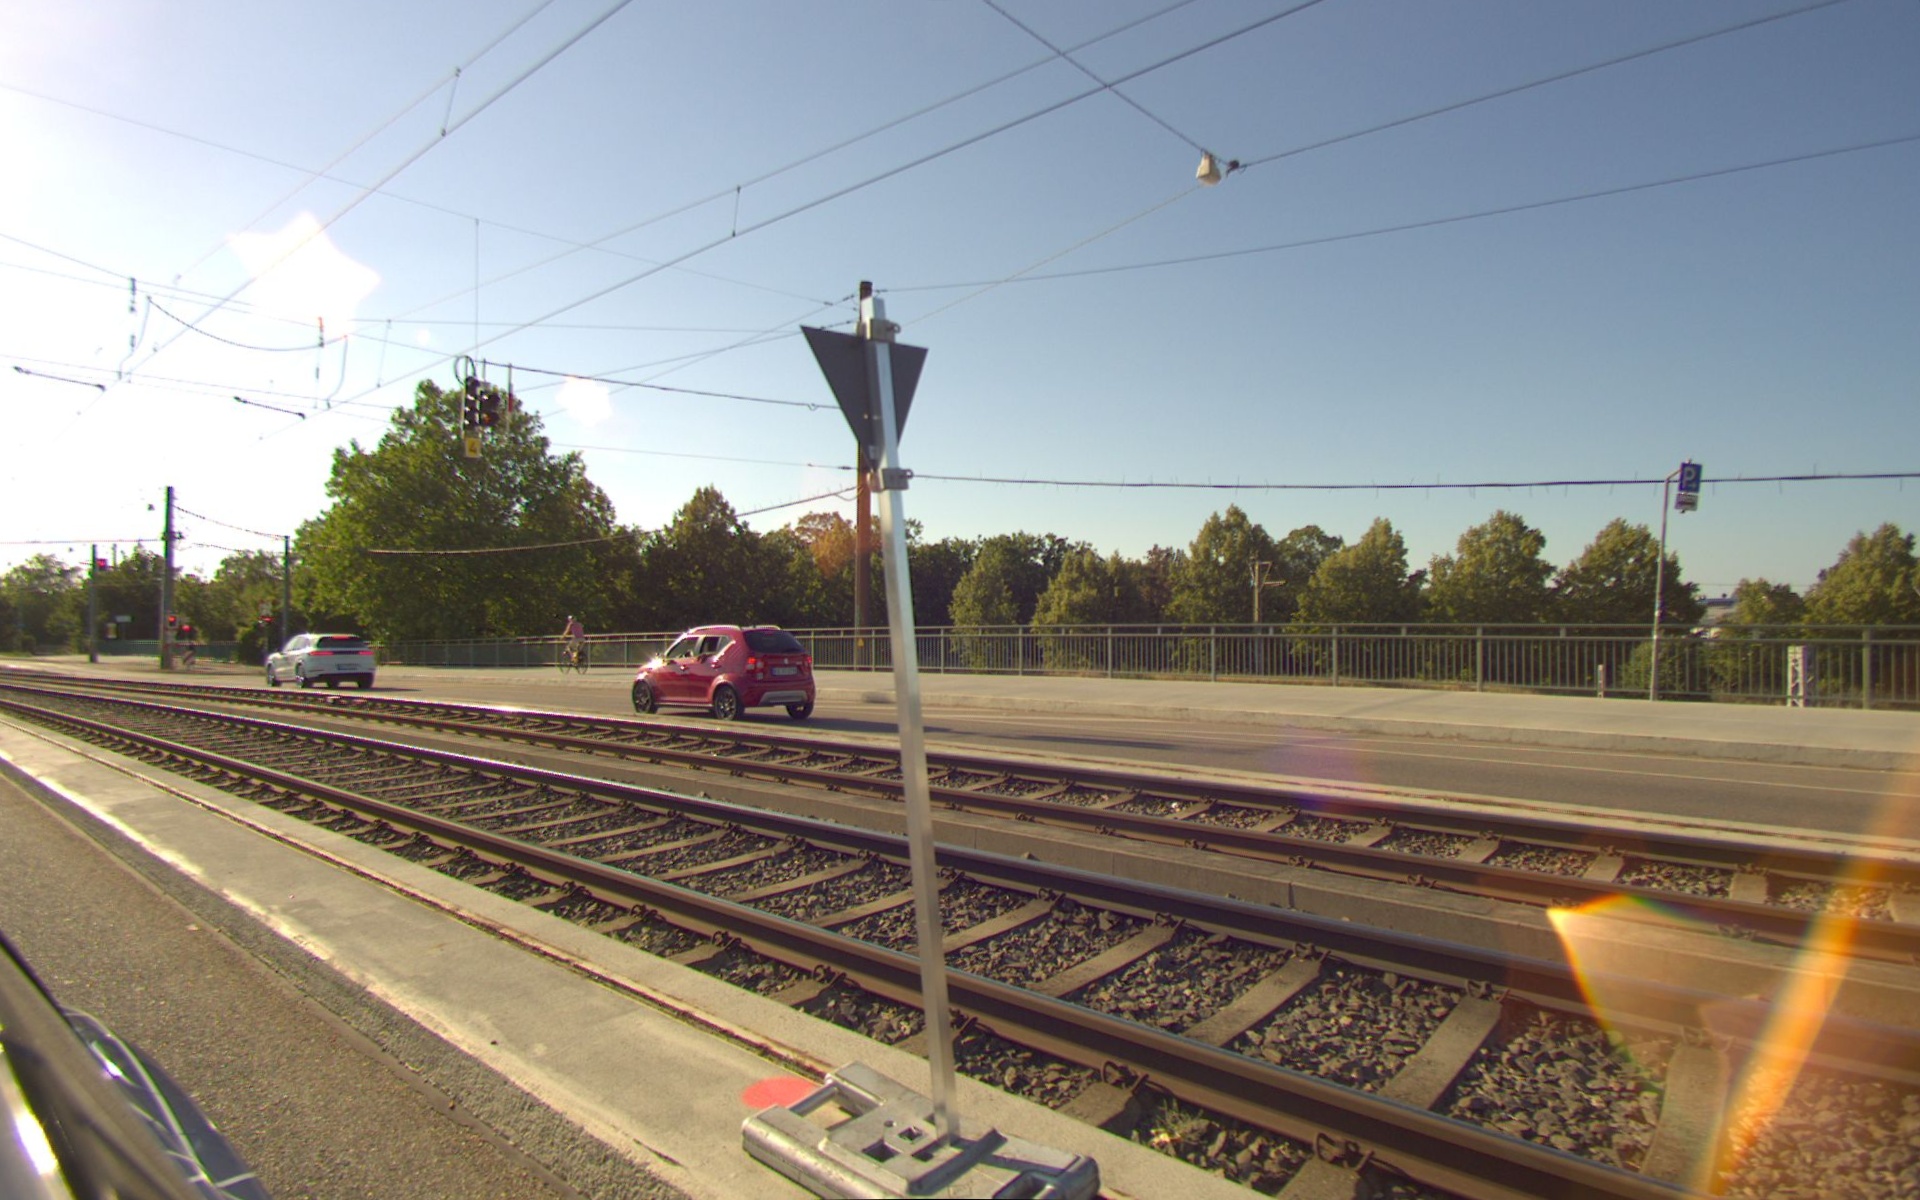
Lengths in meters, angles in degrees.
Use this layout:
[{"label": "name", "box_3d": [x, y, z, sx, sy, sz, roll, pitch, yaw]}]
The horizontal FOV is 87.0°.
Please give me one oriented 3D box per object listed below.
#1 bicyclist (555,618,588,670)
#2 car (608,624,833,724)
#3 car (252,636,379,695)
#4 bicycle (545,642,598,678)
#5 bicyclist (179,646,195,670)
[{"label": "bicyclist", "box_3d": [-12.775, 1.438, 33.255, 0.935, 1.645, 0.619, -2, -1, 40]}, {"label": "car", "box_3d": [-4.193, 1.231, 17.440, 3.998, 1.531, 1.789, -3, -4, 41]}, {"label": "car", "box_3d": [-20.214, 1.971, 31.658, 5.087, 1.649, 1.980, -2, -2, 41]}, {"label": "bicycle", "box_3d": [-12.766, 1.950, 33.242, 2.258, 1.131, 0.619, -2, -1, 40]}, {"label": "bicyclist", "box_3d": [-48.579, 3.630, 63.600, 0.969, 1.443, 0.618, -2, -2, 44]}]
